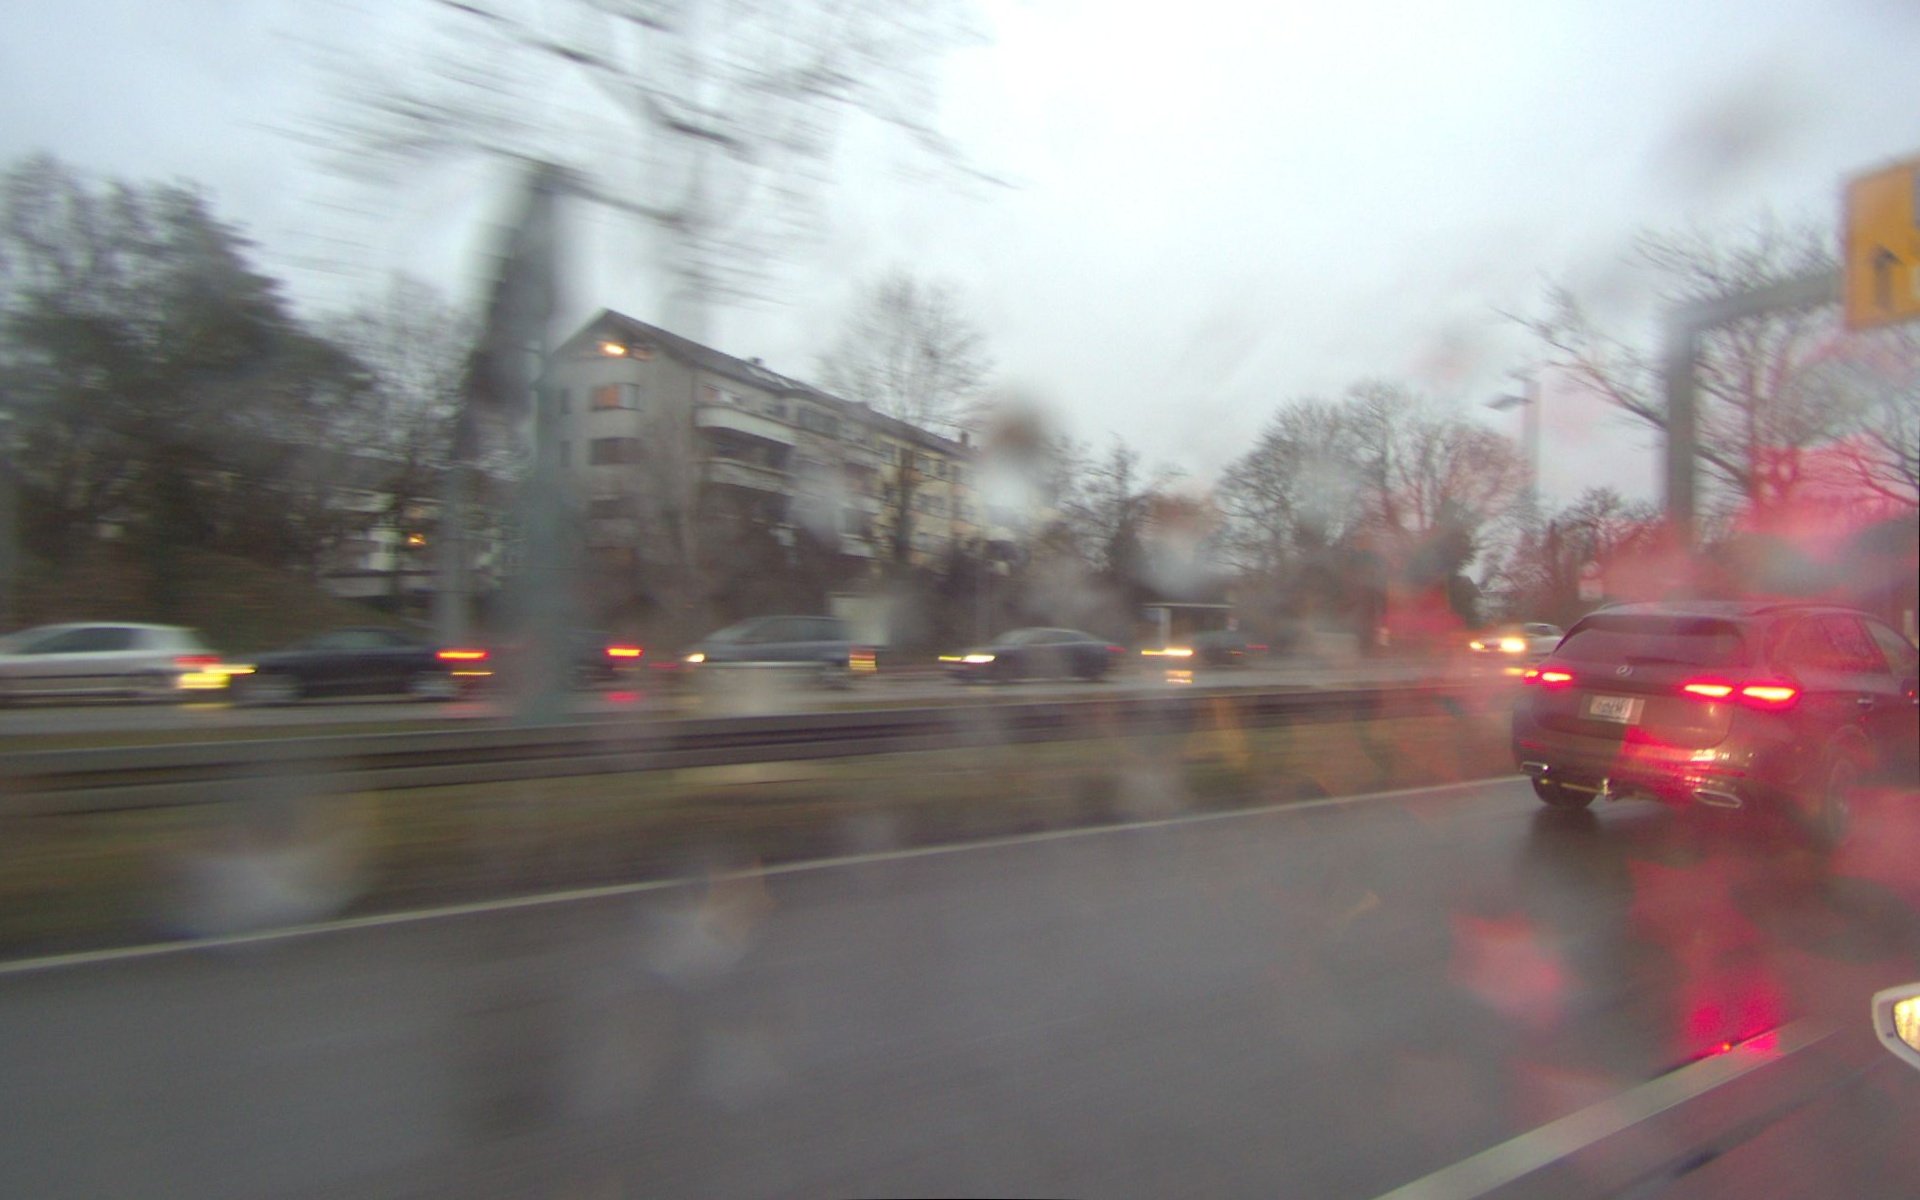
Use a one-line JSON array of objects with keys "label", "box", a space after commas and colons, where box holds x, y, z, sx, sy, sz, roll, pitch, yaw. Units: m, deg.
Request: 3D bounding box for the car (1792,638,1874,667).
[{"label": "car", "box": [42.045, 2.506, 48.357, 4.266, 1.325, 1.743, 1, -1, -31]}]

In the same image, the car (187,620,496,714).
[{"label": "car", "box": [-10.619, 1.129, 17.690, 4.397, 1.466, 1.897, 2, -1, -27]}]

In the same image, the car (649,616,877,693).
[{"label": "car", "box": [-4.166, 1.102, 21.420, 4.391, 1.466, 1.894, 1, 0, -31]}]

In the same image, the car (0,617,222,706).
[{"label": "car", "box": [-16.002, 1.083, 18.168, 4.042, 1.466, 1.895, 2, -1, -31]}]

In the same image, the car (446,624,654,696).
[{"label": "car", "box": [-9.217, 1.319, 22.643, 4.124, 1.466, 1.727, 2, -1, -31]}]

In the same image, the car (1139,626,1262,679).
[{"label": "car", "box": [9.093, 1.953, 37.927, 4.373, 1.876, 1.984, 1, -1, -30]}]

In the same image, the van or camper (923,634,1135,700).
[{"label": "van or camper", "box": [1.759, 1.617, 24.881, 5.099, 1.466, 1.894, 2, -1, -31]}]

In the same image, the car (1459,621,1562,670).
[{"label": "car", "box": [19.900, 1.628, 36.298, 3.535, 1.648, 1.775, 1, -1, -32]}]

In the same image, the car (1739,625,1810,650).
[{"label": "car", "box": [45.296, 2.060, 55.849, 4.266, 1.325, 1.743, 1, -1, -31]}]

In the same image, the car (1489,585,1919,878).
[{"label": "car", "box": [6.171, 0.820, 7.686, 4.417, 1.669, 1.812, 2, -2, -32]}]

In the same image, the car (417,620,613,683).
[{"label": "car", "box": [-11.366, 1.291, 25.716, 4.391, 1.466, 1.894, 2, -1, -31]}]
